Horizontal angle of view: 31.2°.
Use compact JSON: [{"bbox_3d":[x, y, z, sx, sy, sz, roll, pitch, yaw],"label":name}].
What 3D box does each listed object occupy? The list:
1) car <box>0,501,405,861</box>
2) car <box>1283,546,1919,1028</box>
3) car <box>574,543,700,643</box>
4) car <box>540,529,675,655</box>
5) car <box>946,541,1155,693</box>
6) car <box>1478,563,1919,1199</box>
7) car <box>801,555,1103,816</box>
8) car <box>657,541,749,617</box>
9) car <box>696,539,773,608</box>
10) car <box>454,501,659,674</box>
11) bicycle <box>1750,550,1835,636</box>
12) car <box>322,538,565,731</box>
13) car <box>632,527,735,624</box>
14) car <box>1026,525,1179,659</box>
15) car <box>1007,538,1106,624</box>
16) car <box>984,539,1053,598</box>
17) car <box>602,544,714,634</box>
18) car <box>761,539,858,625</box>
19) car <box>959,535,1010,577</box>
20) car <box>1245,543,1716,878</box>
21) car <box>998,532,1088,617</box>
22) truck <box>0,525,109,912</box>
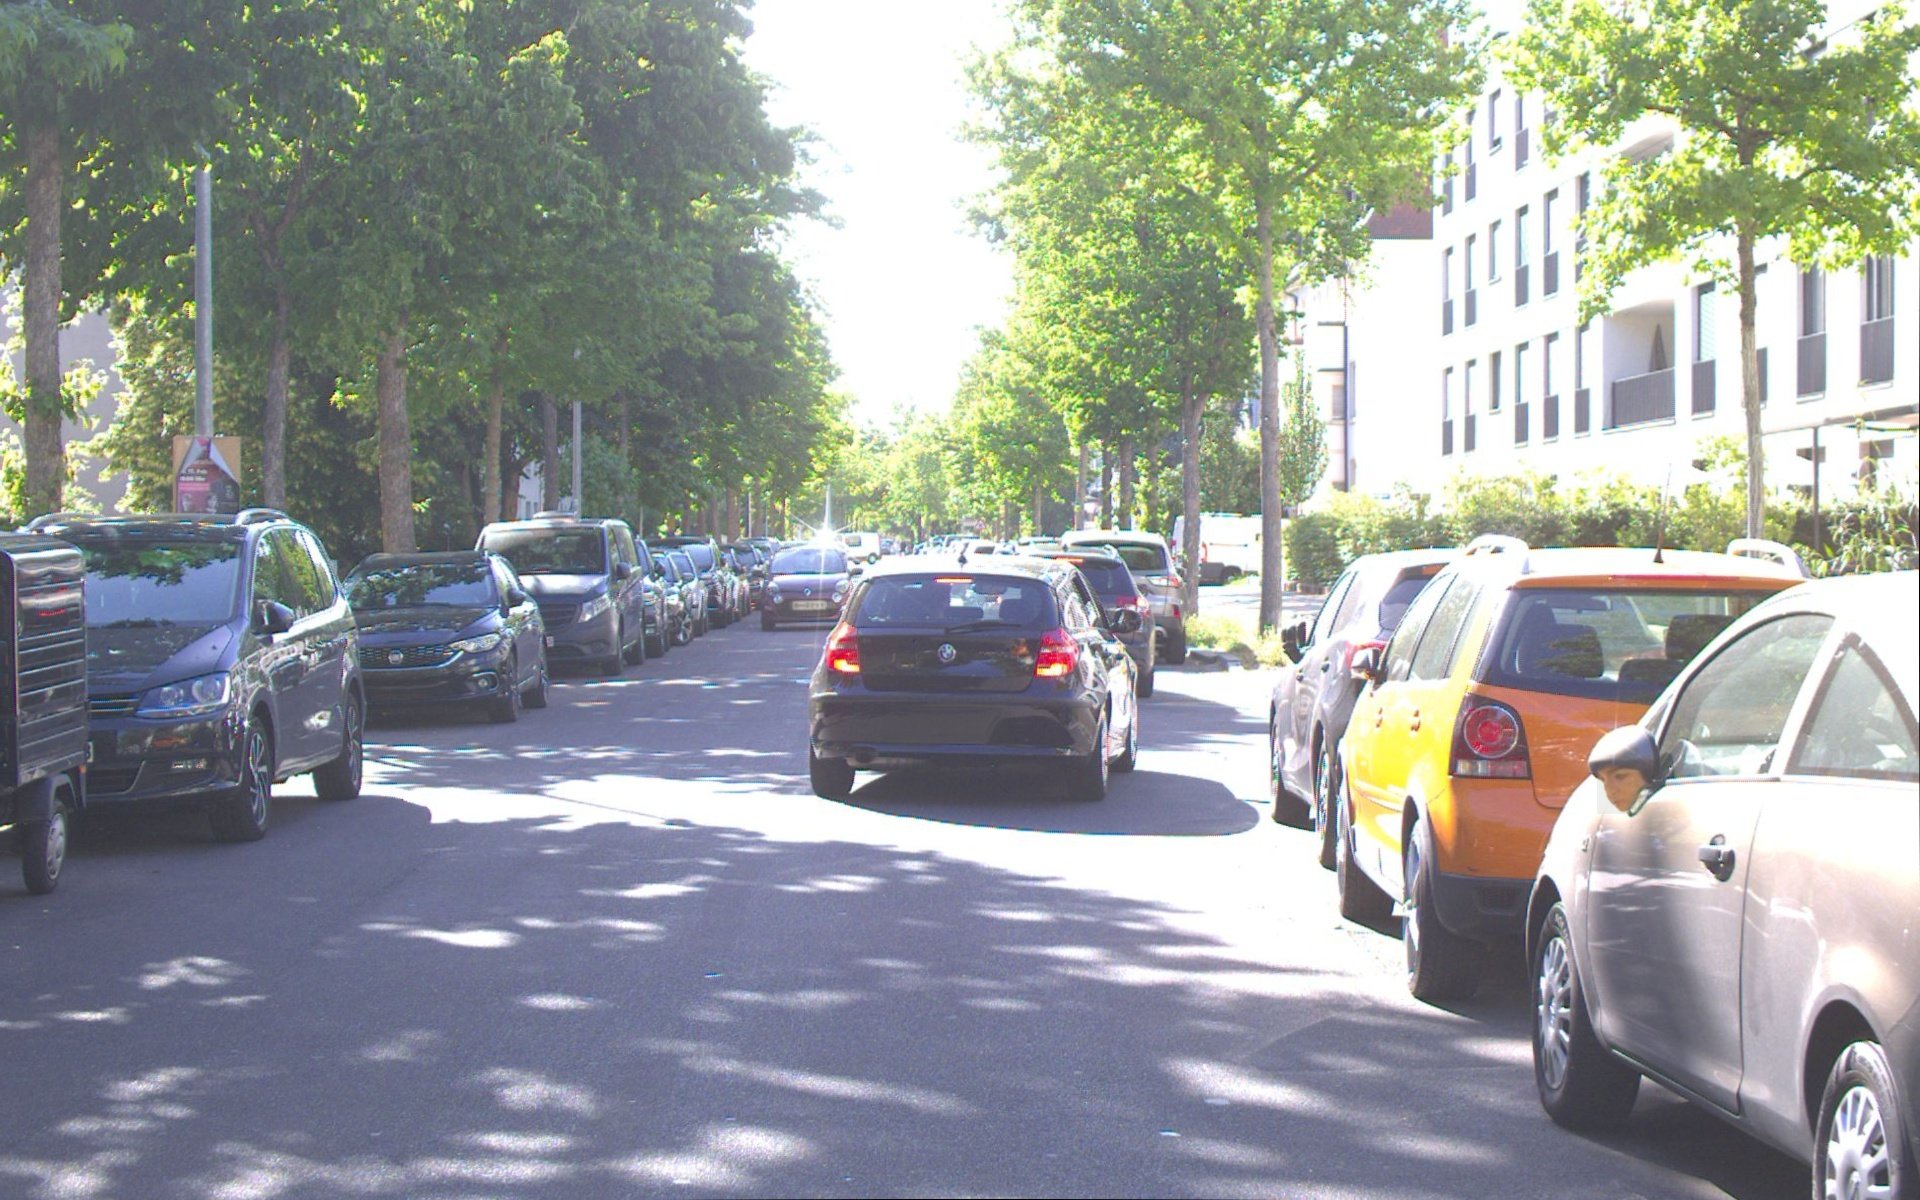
[{"bbox_3d":[-4.387,0.353,19.009,1.849,1.675,4.977,-3,1,-1],"label":"car"},{"bbox_3d":[2.237,0.545,12.661,1.636,1.450,4.100,0,1,-1],"label":"car"},{"bbox_3d":[-4.892,-0.140,52.409,1.612,1.422,4.058,-1,1,-1],"label":"car"},{"bbox_3d":[-4.786,-0.142,47.100,1.612,1.606,4.230,-1,1,-3],"label":"car"},{"bbox_3d":[0.855,0.129,34.830,1.649,1.420,4.002,-1,1,-5],"label":"car"},{"bbox_3d":[2.328,0.653,7.599,1.649,1.423,3.613,-1,1,-3],"label":"car"},{"bbox_3d":[-0.083,0.448,20.661,1.649,1.392,3.412,-1,1,-1],"label":"car"},{"bbox_3d":[-5.099,-0.443,68.645,1.612,1.447,3.866,-1,1,-1],"label":"car"},{"bbox_3d":[-5.235,-0.644,80.167,1.612,1.538,3.866,-1,1,-1],"label":"car"},{"bbox_3d":[-4.786,-0.189,41.402,1.826,1.898,5.142,-2,1,0],"label":"car"},{"bbox_3d":[10.464,-0.097,43.252,0.546,1.051,1.692,-1,1,-3],"label":"bicycle"},{"bbox_3d":[-4.567,0.245,30.966,1.507,1.543,4.779,-2,1,-1],"label":"car"},{"bbox_3d":[-5.025,-0.469,62.941,1.612,1.673,4.234,-1,1,-1],"label":"car"},{"bbox_3d":[1.800,-0.119,44.604,1.848,1.625,4.410,1,1,1],"label":"car"},{"bbox_3d":[1.788,-0.384,64.734,1.721,1.523,4.000,2,1,0],"label":"car"},{"bbox_3d":[1.511,-0.850,90.644,1.721,1.475,3.851,2,1,0],"label":"car"},{"bbox_3d":[-5.026,-0.212,57.503,1.612,1.422,3.726,-1,1,-1],"label":"car"},{"bbox_3d":[-2.598,-0.336,59.847,1.505,1.421,3.178,-1,1,0],"label":"car"},{"bbox_3d":[0.919,-1.615,125.932,1.721,1.475,3.851,-1,1,2],"label":"car"},{"bbox_3d":[2.471,0.453,17.227,1.700,1.444,4.082,-1,1,0],"label":"car"},{"bbox_3d":[1.674,-0.548,70.740,1.721,1.635,3.851,2,1,0],"label":"car"},{"bbox_3d":[-4.438,0.477,14.379,1.084,1.572,2.432,0,1,1],"label":"truck"}]
